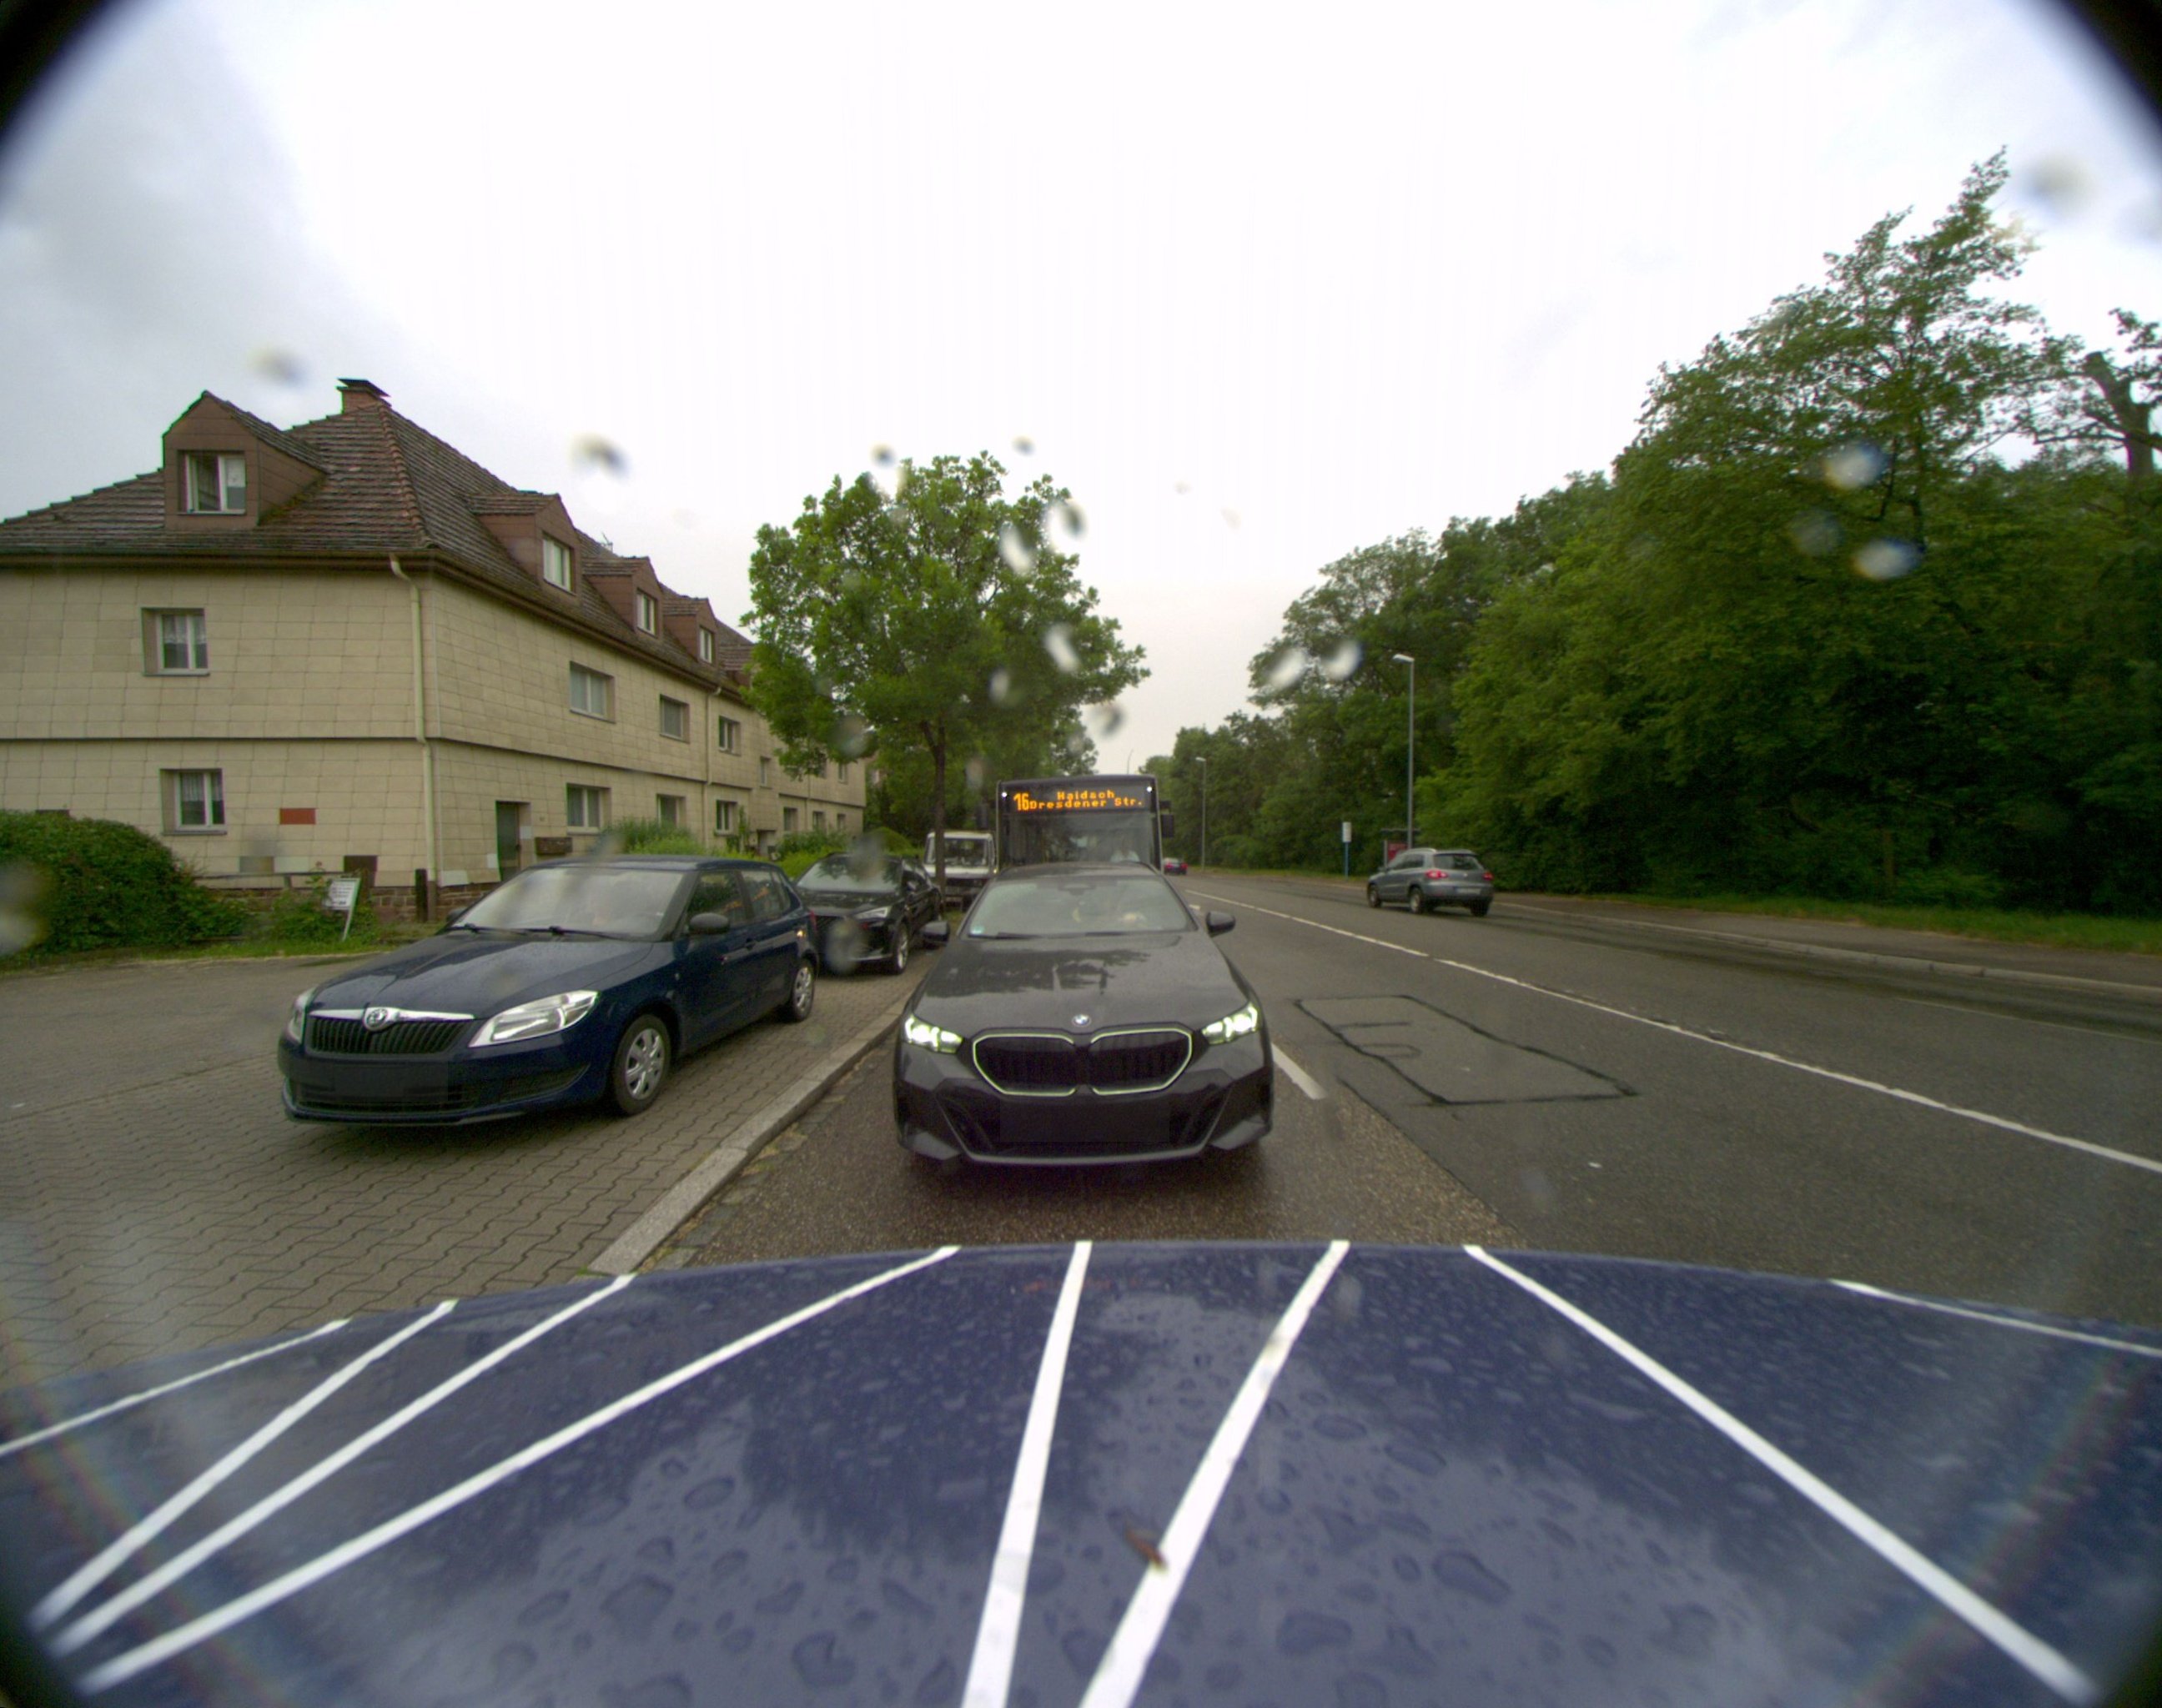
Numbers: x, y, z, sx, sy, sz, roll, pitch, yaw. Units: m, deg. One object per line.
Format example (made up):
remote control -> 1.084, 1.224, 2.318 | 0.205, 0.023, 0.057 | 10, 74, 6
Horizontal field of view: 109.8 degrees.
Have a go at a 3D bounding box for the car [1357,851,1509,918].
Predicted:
car -> 9.183, 0.720, 20.268 | 1.913, 1.581, 4.316 | 0, 0, -2

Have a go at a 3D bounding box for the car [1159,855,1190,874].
car -> 8.045, 0.845, 65.627 | 1.915, 1.445, 4.947 | 3, 1, -1

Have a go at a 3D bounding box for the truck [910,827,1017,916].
truck -> -3.155, 0.434, 21.685 | 1.998, 2.184, 5.756 | 0, 0, 2

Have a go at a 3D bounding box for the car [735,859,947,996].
car -> -3.074, 0.849, 10.612 | 1.720, 1.455, 3.999 | 1, 1, -1

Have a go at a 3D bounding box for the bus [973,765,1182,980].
bus -> 0.081, 0.208, 15.141 | 2.767, 2.858, 9.403 | -2, 1, 2

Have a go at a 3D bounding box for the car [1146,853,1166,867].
car -> 7.708, 0.623, 78.275 | 1.598, 1.420, 3.905 | 1, 0, -1

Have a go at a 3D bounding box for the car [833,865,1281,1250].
car -> -0.077, 0.927, 5.483 | 1.882, 1.520, 4.316 | -3, 0, 1

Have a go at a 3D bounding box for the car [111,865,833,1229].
car -> -3.260, 0.857, 5.244 | 1.720, 1.416, 3.999 | 1, 1, 1
